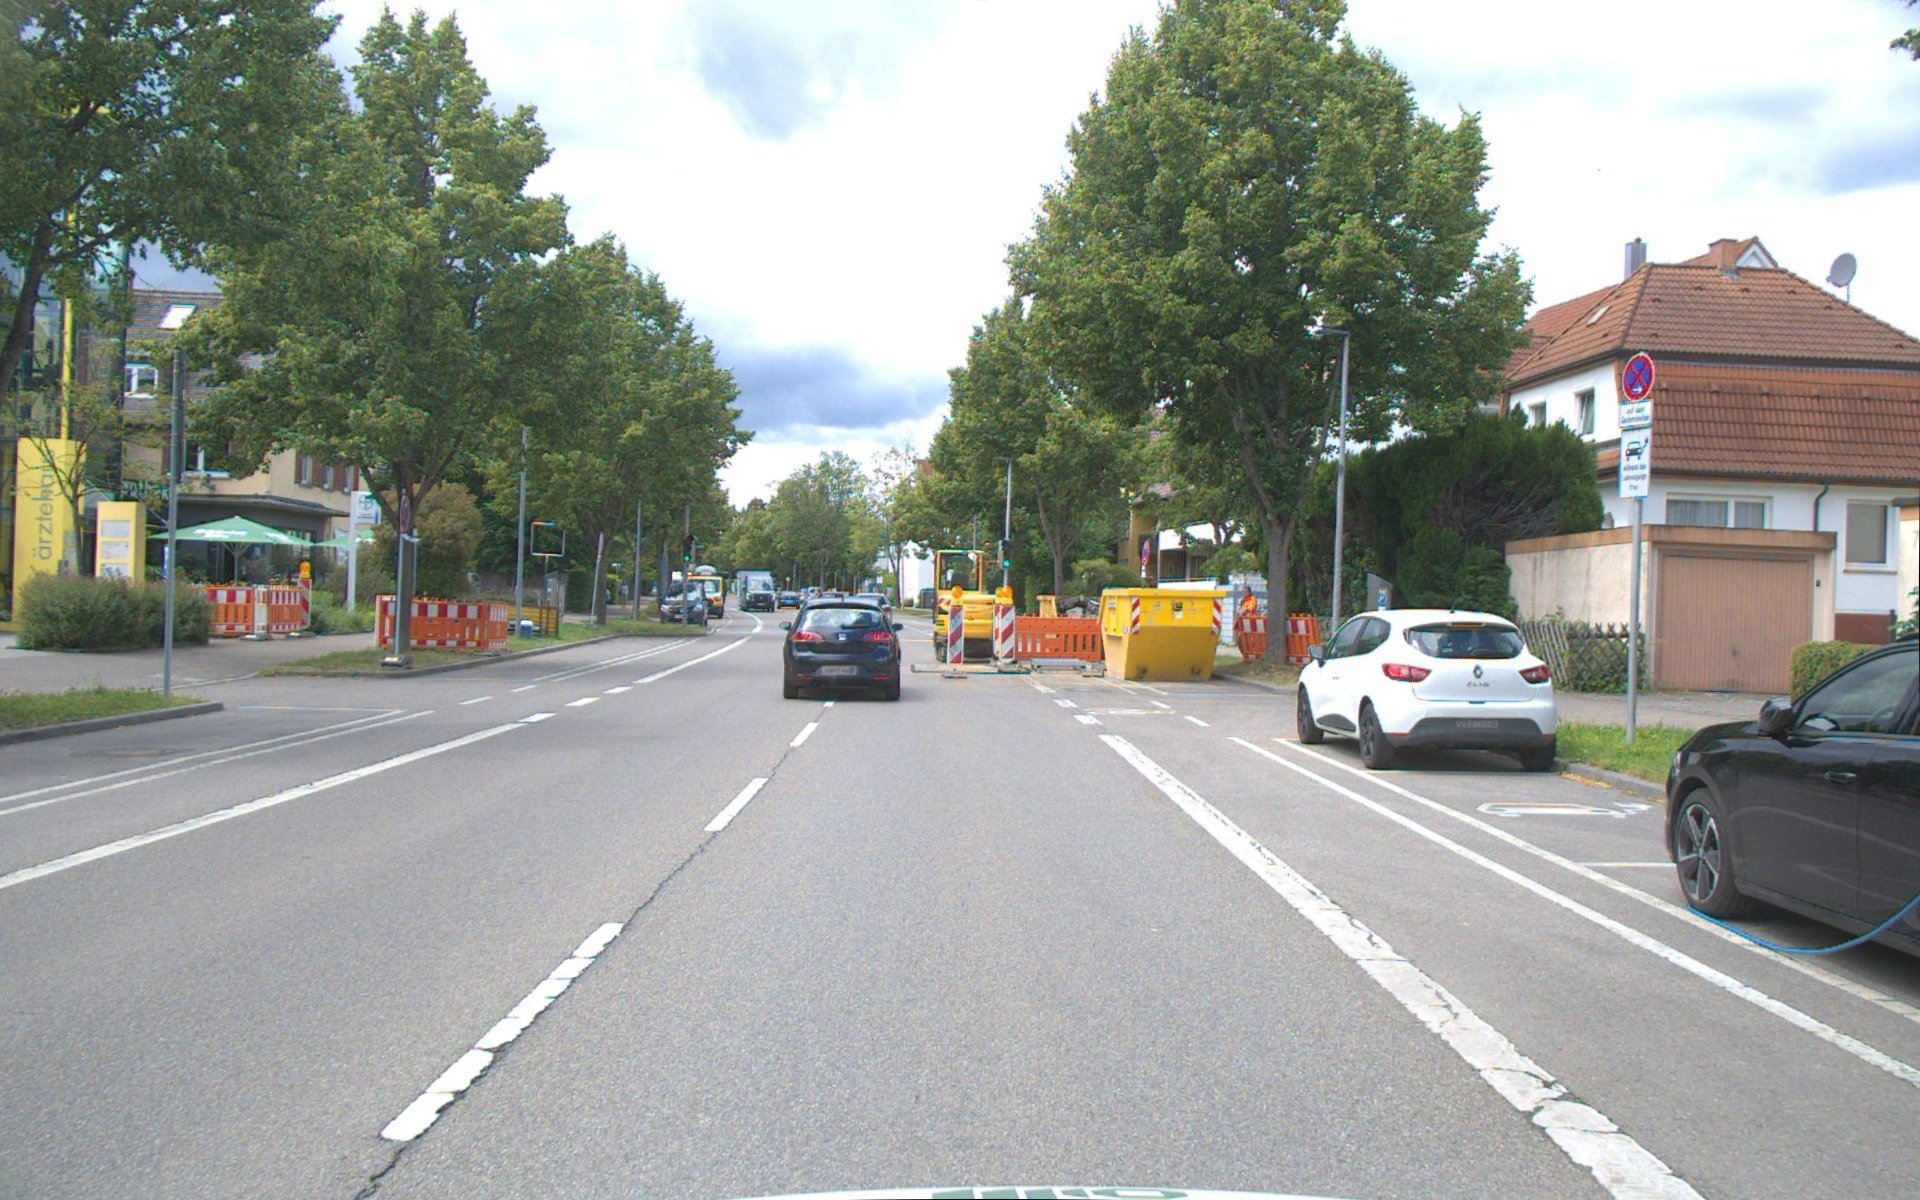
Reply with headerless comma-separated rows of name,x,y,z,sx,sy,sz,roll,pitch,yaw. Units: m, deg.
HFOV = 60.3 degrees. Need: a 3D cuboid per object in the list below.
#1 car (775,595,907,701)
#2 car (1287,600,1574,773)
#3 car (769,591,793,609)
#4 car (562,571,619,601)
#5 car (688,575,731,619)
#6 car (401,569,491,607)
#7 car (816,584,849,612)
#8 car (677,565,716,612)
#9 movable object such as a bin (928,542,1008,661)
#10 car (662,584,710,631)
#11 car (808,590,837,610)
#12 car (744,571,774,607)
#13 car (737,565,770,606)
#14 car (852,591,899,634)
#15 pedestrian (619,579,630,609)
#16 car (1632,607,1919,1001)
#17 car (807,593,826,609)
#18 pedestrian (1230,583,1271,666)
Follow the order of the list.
car,-1.734,0.671,25.069,1.782,1.463,3.739,0,0,-1
car,4.553,0.762,16.600,1.638,1.488,3.999,1,0,-2
car,-14.083,0.012,130.042,1.775,1.399,3.687,1,0,-7
car,-25.264,-0.941,113.079,3.612,1.960,1.676,1,0,-7
car,-13.204,-0.163,87.528,2.053,2.213,5.037,1,0,-7
car,-25.554,-0.595,82.324,3.905,1.800,1.746,1,0,0
car,-7.644,-0.116,98.931,1.757,1.651,3.733,0,0,-7
car,-15.608,-0.697,98.030,2.053,2.672,5.037,1,0,-7
movable object such as a bin,0.152,0.028,38.711,1.732,2.619,3.739,1,0,-1
car,-10.840,0.256,65.709,1.635,1.803,4.462,0,0,-6
car,-10.001,-0.008,120.172,1.777,1.440,3.684,1,0,-10
car,-13.769,-0.747,113.673,1.990,2.426,5.254,0,0,-6
car,-14.904,-1.036,119.789,2.244,2.840,7.133,0,0,-6
car,-3.527,0.496,68.844,1.868,1.715,3.737,0,0,-4
pedestrian,-20.127,-0.350,99.215,0.584,1.772,0.573,1,0,-8
car,4.498,0.794,6.707,1.670,1.480,4.616,1,0,0
car,-13.962,0.082,161.563,1.774,1.440,3.690,1,0,-4
pedestrian,5.859,0.488,33.368,0.690,1.663,0.643,1,0,-2
